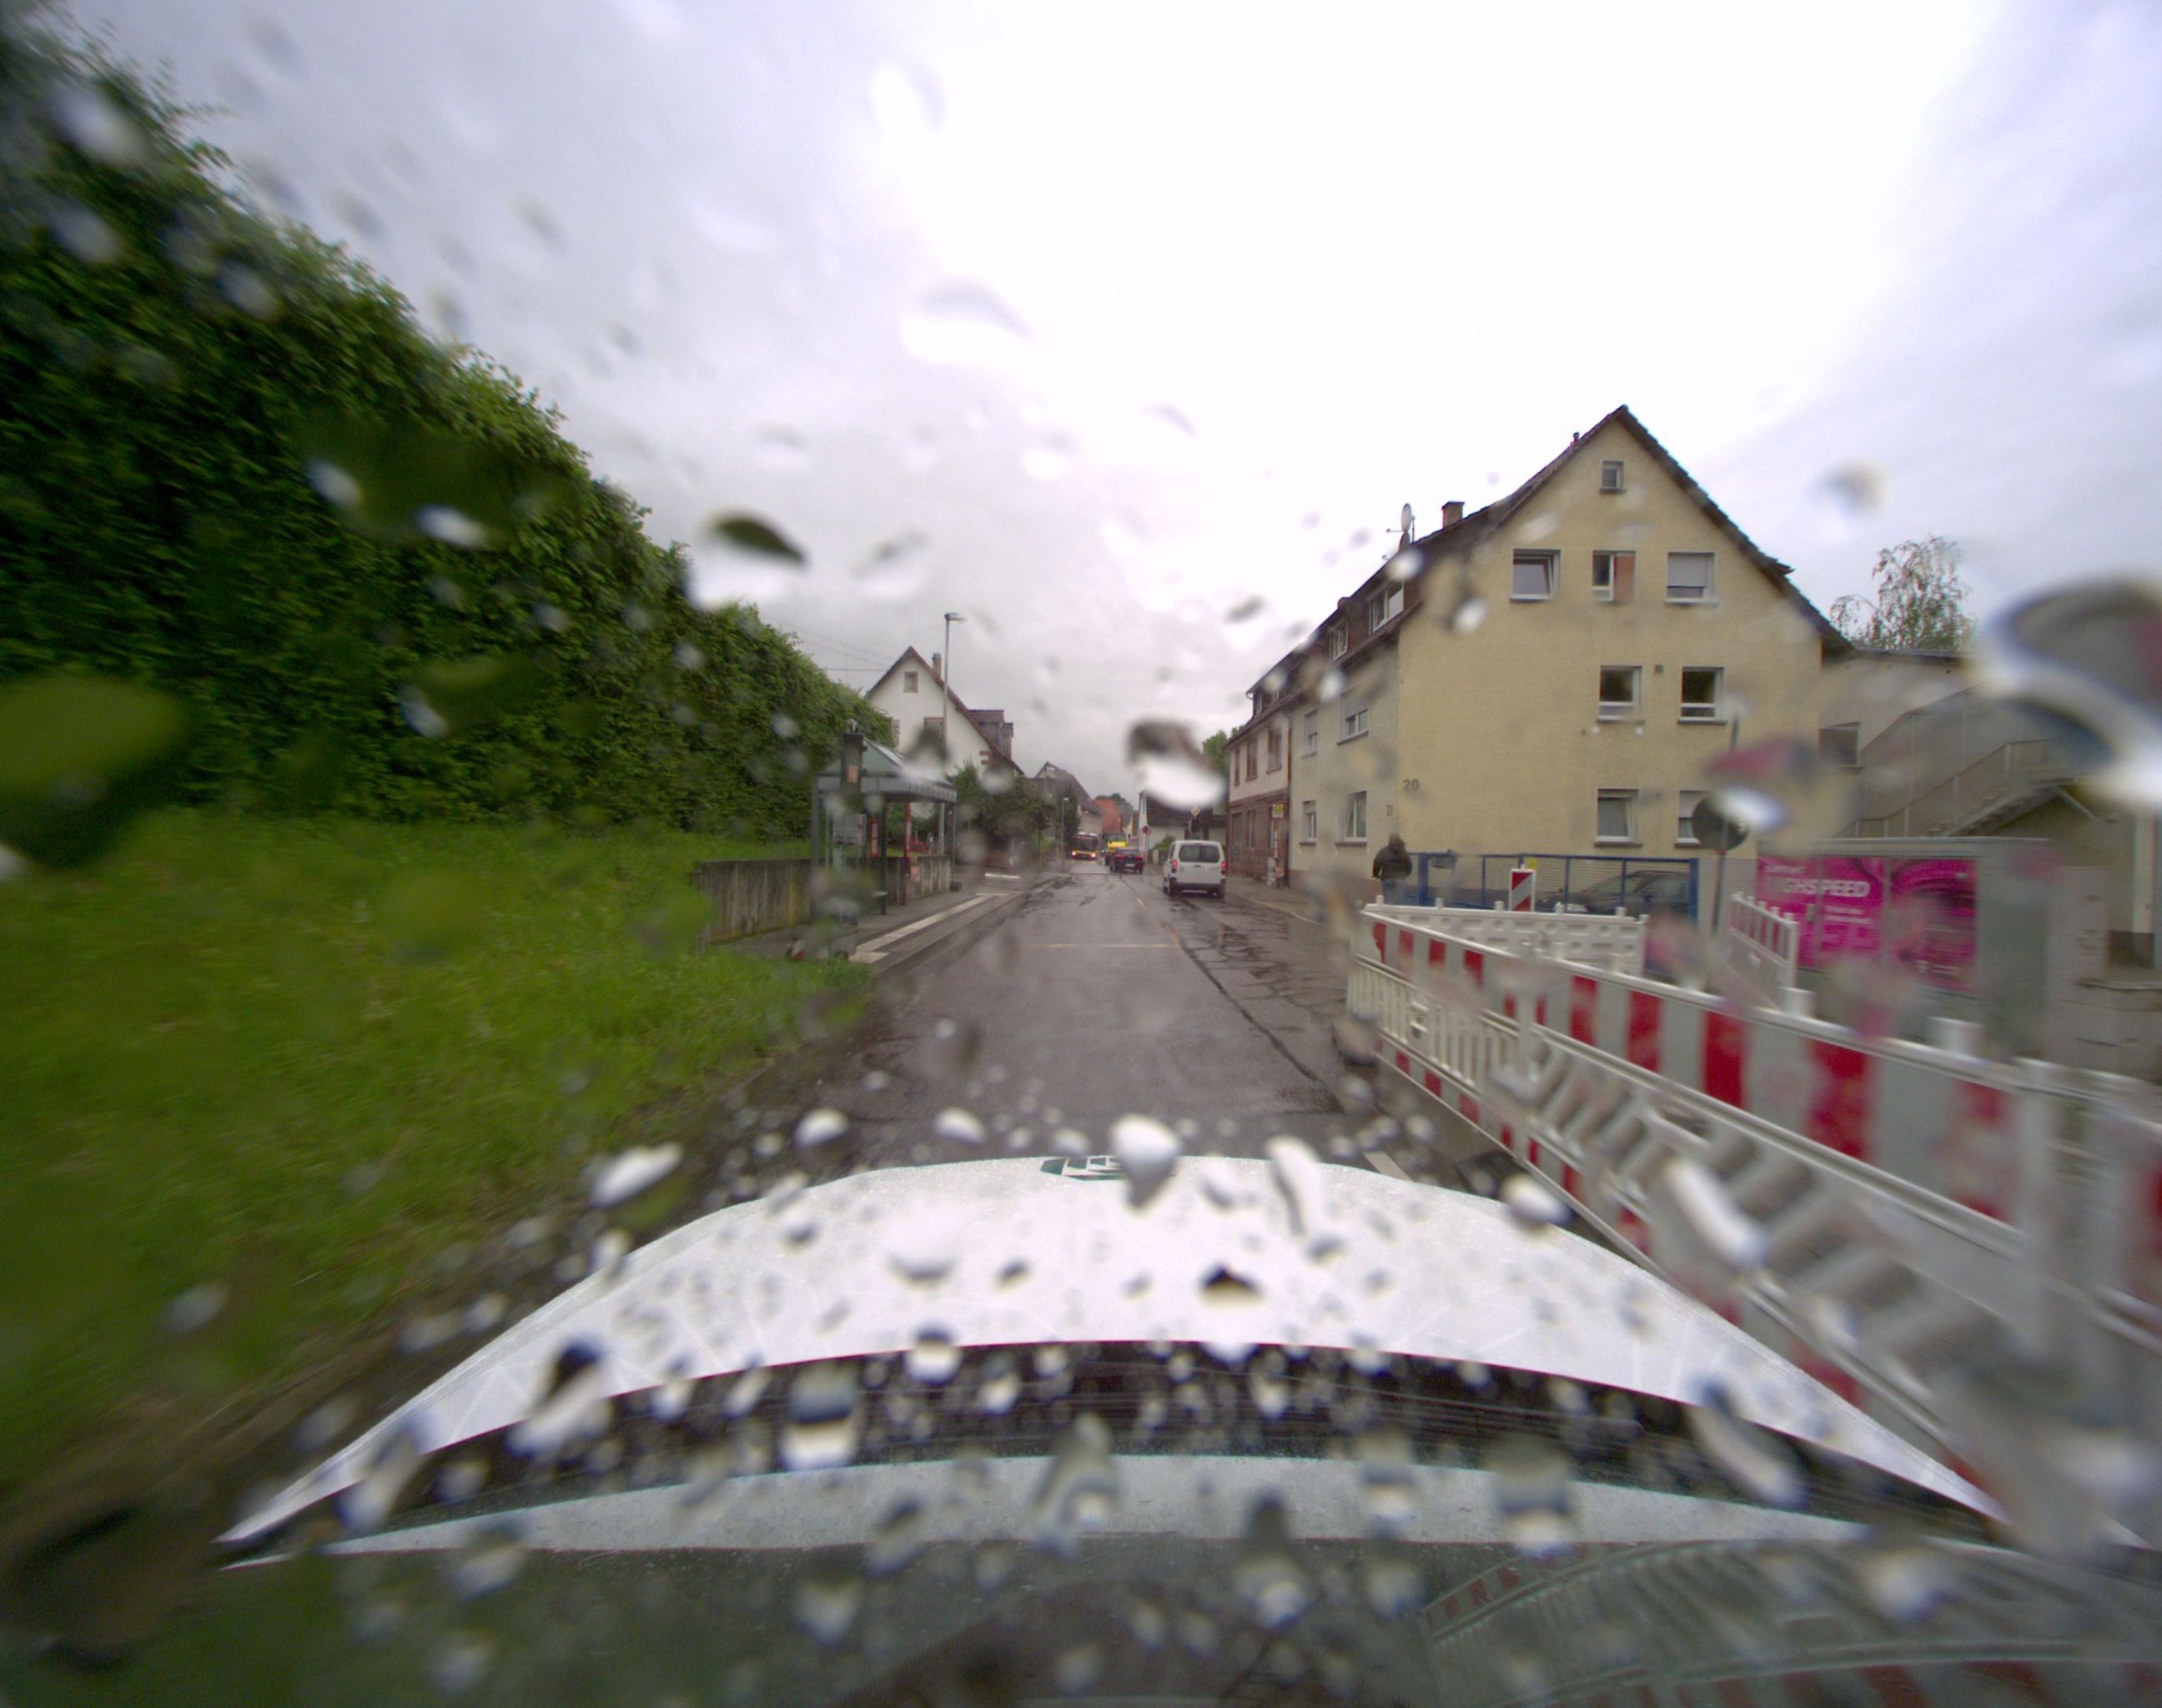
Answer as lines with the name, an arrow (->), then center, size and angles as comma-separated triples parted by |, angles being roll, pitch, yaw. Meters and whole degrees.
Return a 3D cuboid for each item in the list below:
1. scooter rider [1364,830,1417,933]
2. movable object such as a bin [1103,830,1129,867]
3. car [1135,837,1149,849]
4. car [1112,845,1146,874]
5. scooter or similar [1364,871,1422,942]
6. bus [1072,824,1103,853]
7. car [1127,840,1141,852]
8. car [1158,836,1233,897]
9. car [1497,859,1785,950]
scooter rider -> 5.377, 0.467, 14.180 | 0.727, 1.733, 0.519 | 1, 0, 6
movable object such as a bin -> 2.659, -0.428, 62.375 | 1.721, 2.653, 3.973 | 3, 1, 0
car -> 9.129, -1.623, 121.238 | 1.841, 1.794, 4.008 | 0, 0, 7
car -> 2.882, 0.320, 49.568 | 1.804, 1.596, 3.755 | 3, 1, 0
scooter or similar -> 5.377, 0.878, 14.106 | 0.617, 1.127, 1.405 | 1, 0, 7
bus -> 0.854, -1.907, 93.456 | 2.638, 2.999, 12.208 | 2, 2, 4
car -> 9.059, -1.370, 138.177 | 1.982, 2.013, 4.009 | 0, 0, 8
car -> 3.708, 0.378, 26.974 | 1.888, 1.793, 3.813 | 3, 1, 0
car -> 10.523, 0.914, 15.543 | 4.131, 1.302, 1.912 | 4, 0, 0
